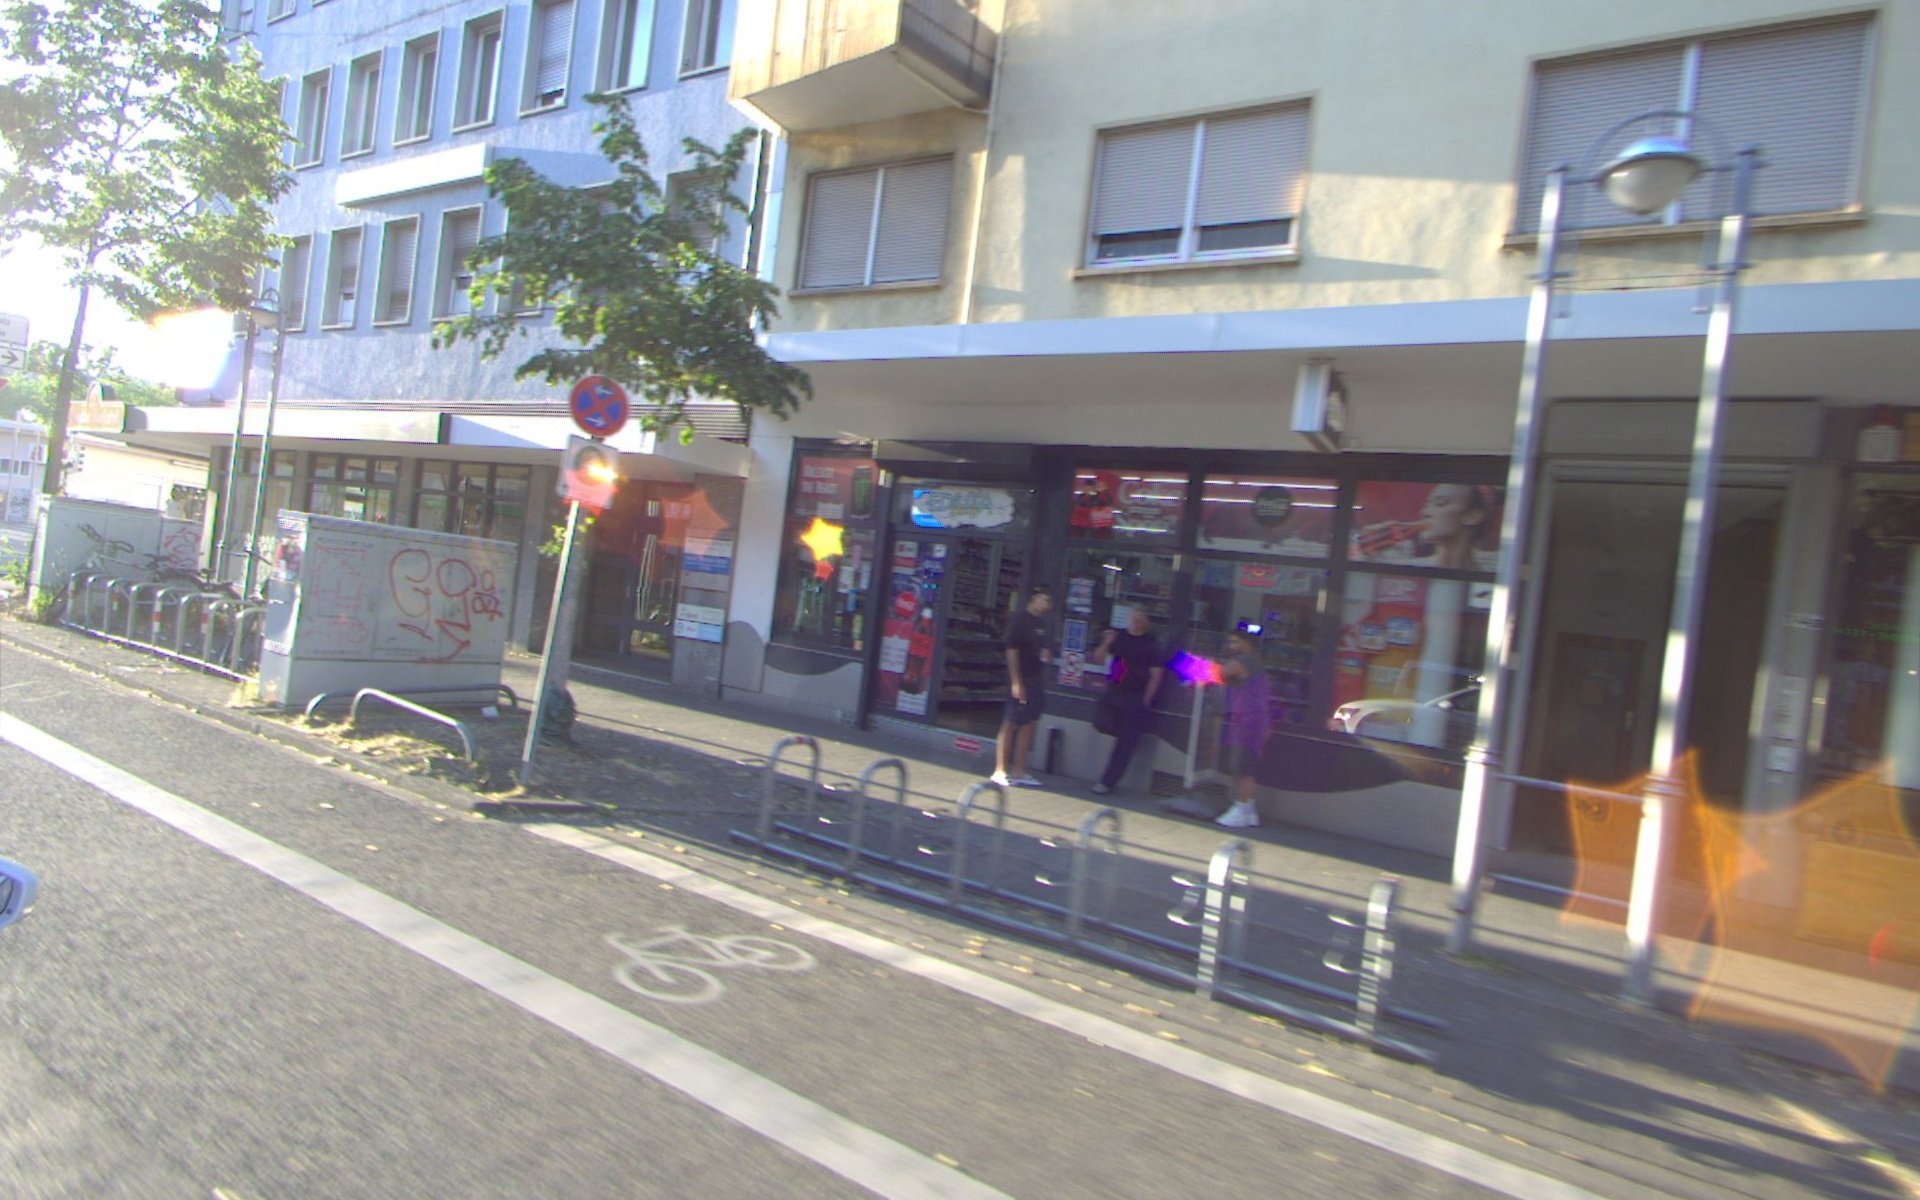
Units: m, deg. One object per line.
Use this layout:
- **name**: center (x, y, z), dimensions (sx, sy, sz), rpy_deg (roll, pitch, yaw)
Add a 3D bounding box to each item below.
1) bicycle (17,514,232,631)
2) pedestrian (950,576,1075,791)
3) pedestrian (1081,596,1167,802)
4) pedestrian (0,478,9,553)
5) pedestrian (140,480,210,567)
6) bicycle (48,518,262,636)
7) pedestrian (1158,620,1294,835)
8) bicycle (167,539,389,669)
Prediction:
- **bicycle**: center (-10.286, -0.299, 12.468), dimensions (0.462, 1.218, 1.914), rpy_deg (7, 0, 33)
- **pedestrian**: center (0.490, 0.766, 9.242), dimensions (0.639, 1.828, 0.709), rpy_deg (8, -1, 32)
- **pedestrian**: center (1.550, 0.915, 9.435), dimensions (0.518, 1.803, 0.582), rpy_deg (8, -1, 13)
- **pedestrian**: center (-22.757, -1.995, 23.279), dimensions (0.797, 1.748, 0.986), rpy_deg (5, 2, -30)
- **pedestrian**: center (-18.432, -1.779, 23.647), dimensions (0.792, 1.911, 0.992), rpy_deg (5, 1, -9)
- **bicycle**: center (-9.800, -0.244, 12.334), dimensions (0.462, 1.218, 1.914), rpy_deg (7, 0, 33)
- **pedestrian**: center (2.304, 1.078, 8.685), dimensions (0.764, 1.679, 0.643), rpy_deg (8, -1, 32)
- **bicycle**: center (-7.115, 0.089, 10.626), dimensions (0.461, 1.218, 1.919), rpy_deg (7, 0, 21)
